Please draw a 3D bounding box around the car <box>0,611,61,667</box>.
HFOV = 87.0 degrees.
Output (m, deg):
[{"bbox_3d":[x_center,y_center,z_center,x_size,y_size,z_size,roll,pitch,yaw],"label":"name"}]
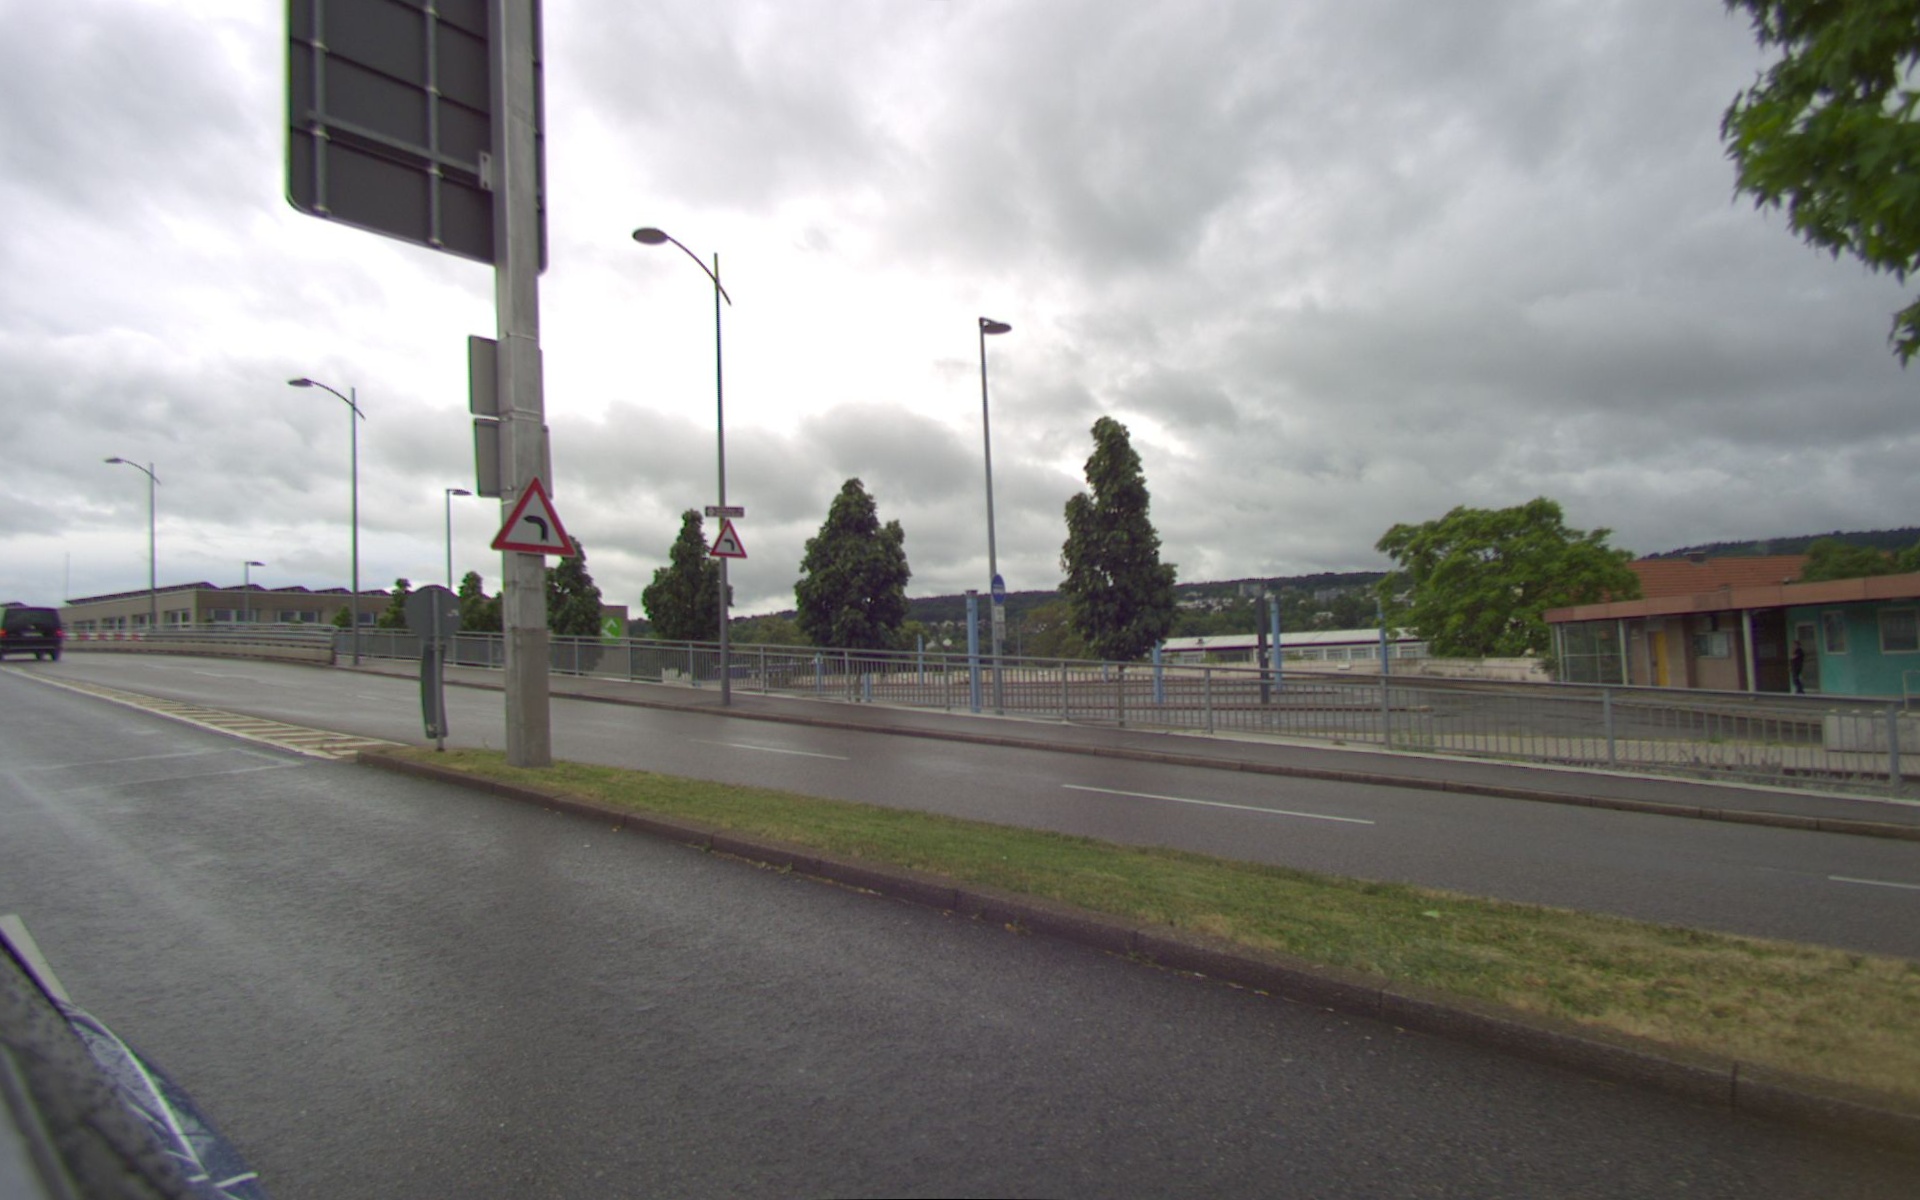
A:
[{"bbox_3d":[-35.203,1.433,37.944,4.686,1.983,1.825,-1,-2,44],"label":"car"}]
